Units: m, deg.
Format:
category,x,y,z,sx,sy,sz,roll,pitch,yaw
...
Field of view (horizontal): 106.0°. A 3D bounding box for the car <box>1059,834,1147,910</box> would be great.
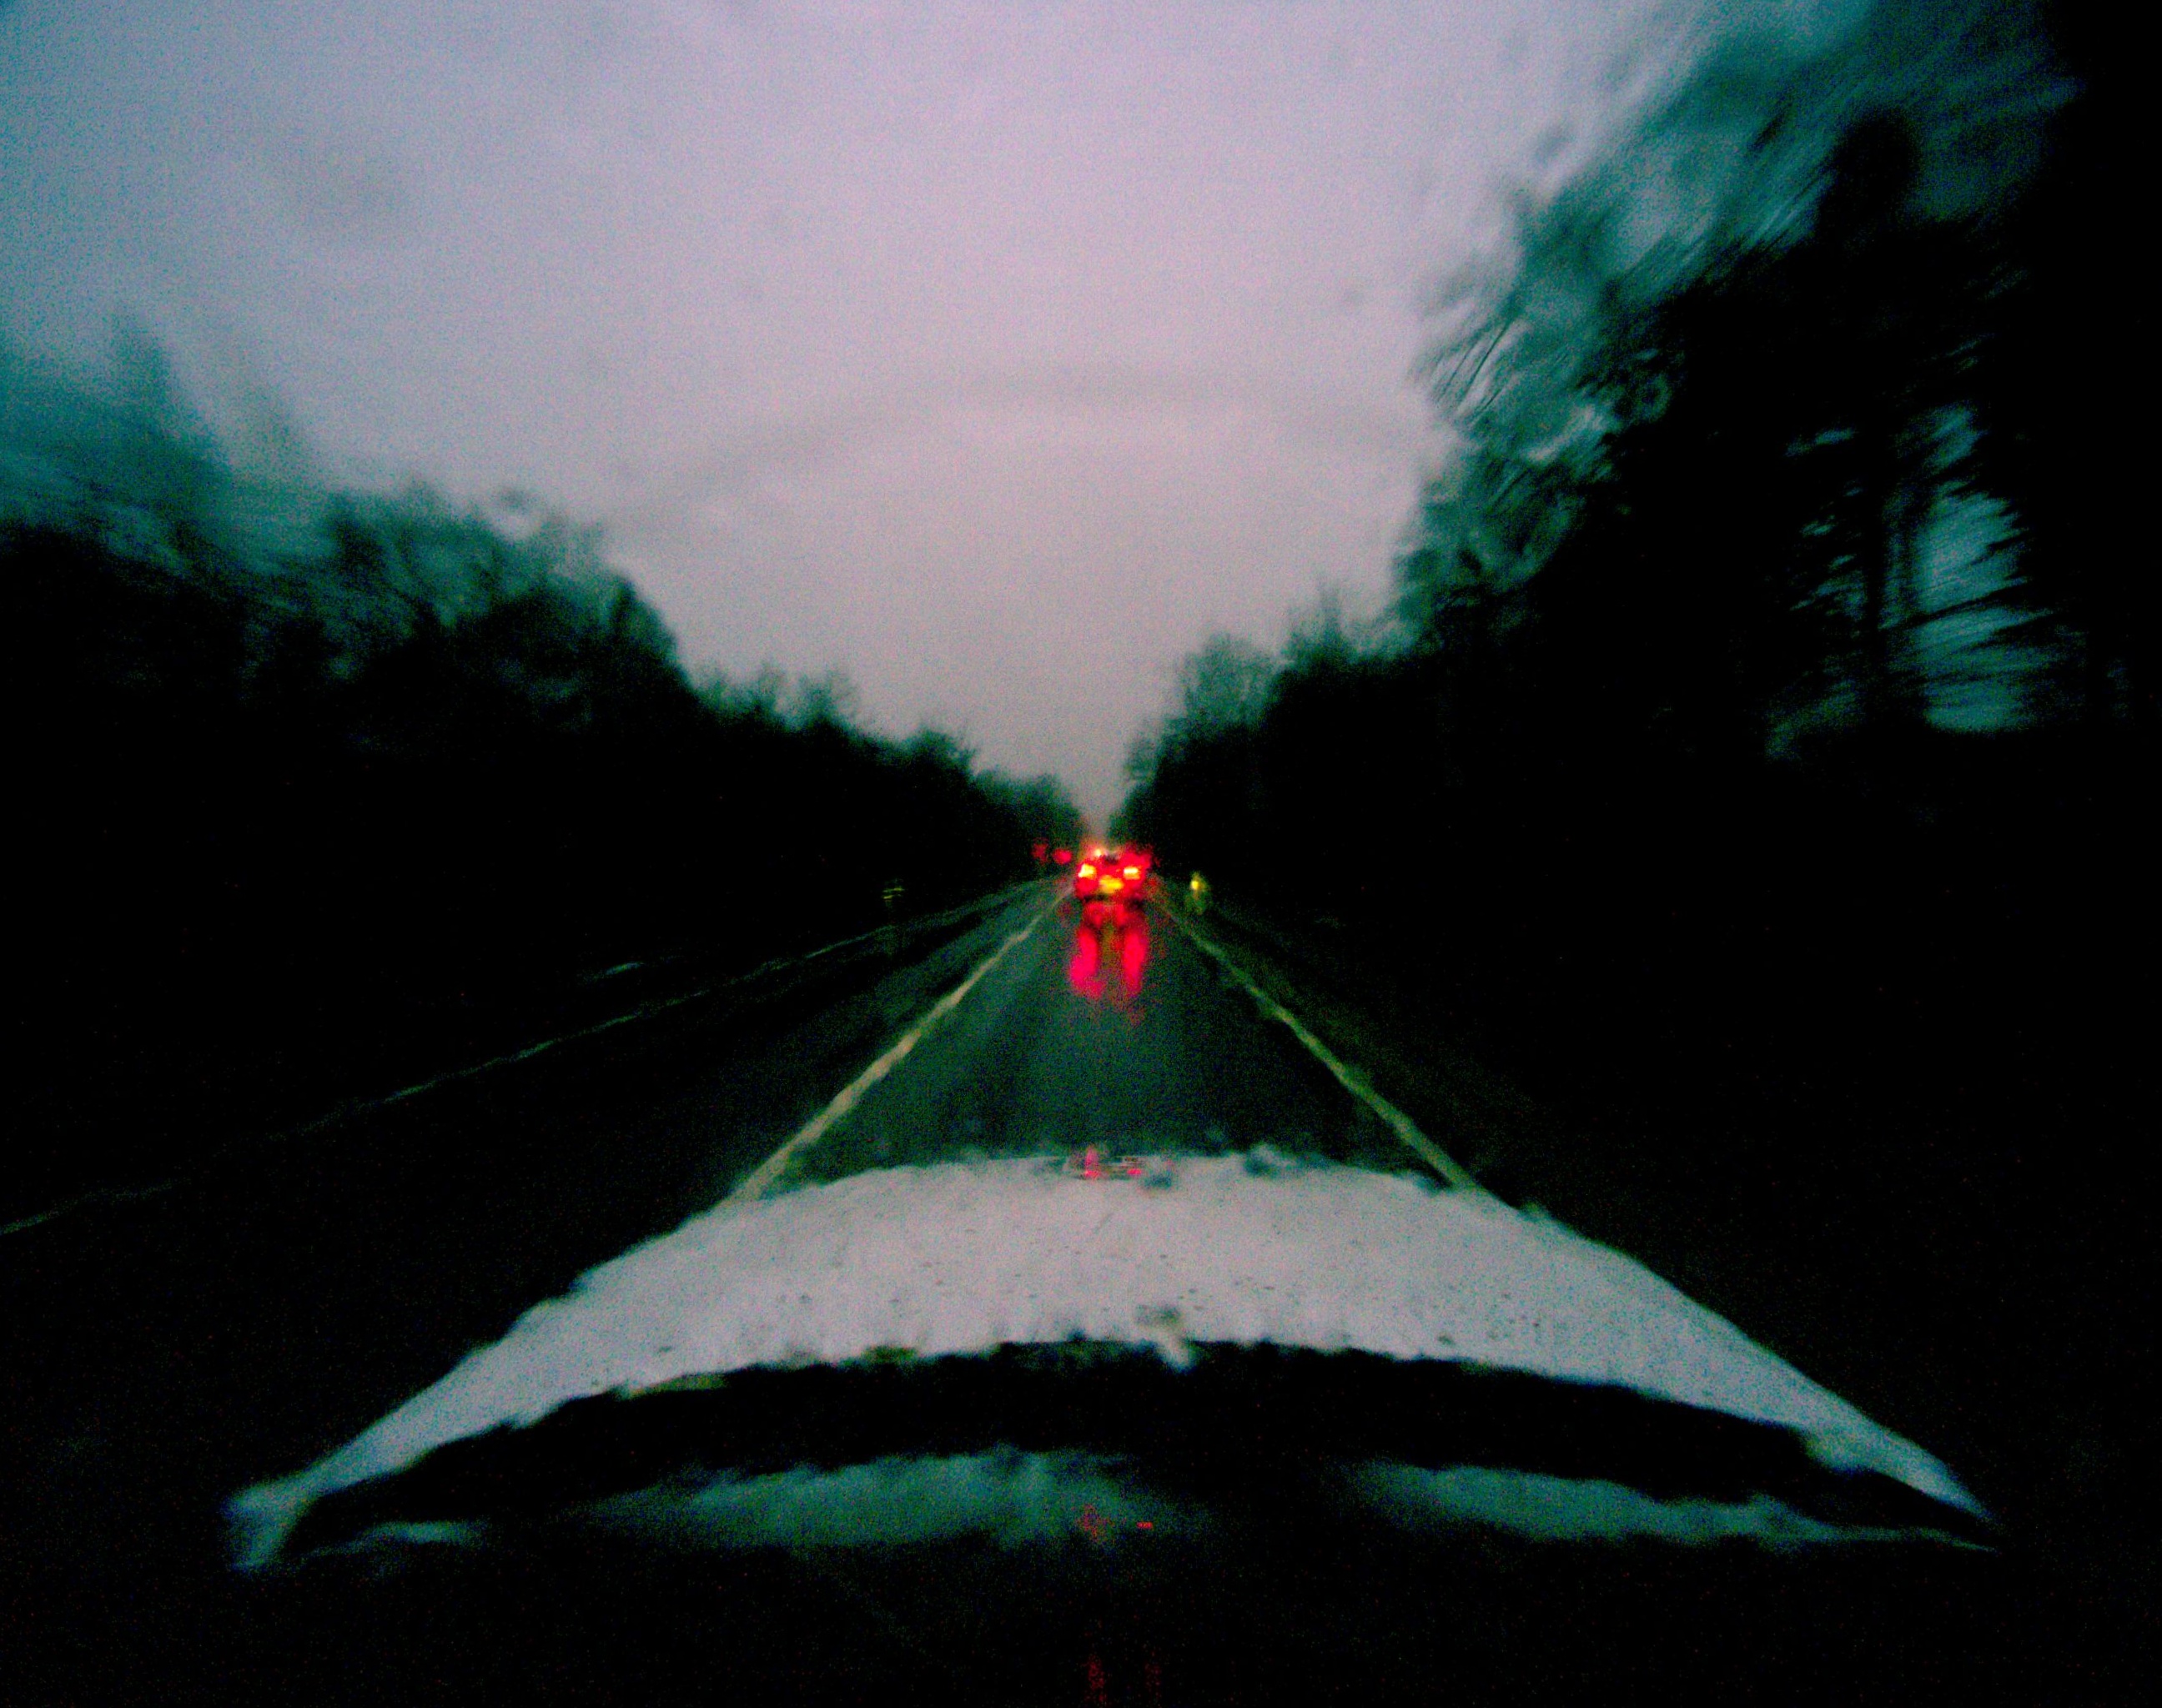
category,x,y,z,sx,sy,sz,roll,pitch,yaw
car,0.603,0.445,22.678,2.190,1.877,4.828,0,0,1
